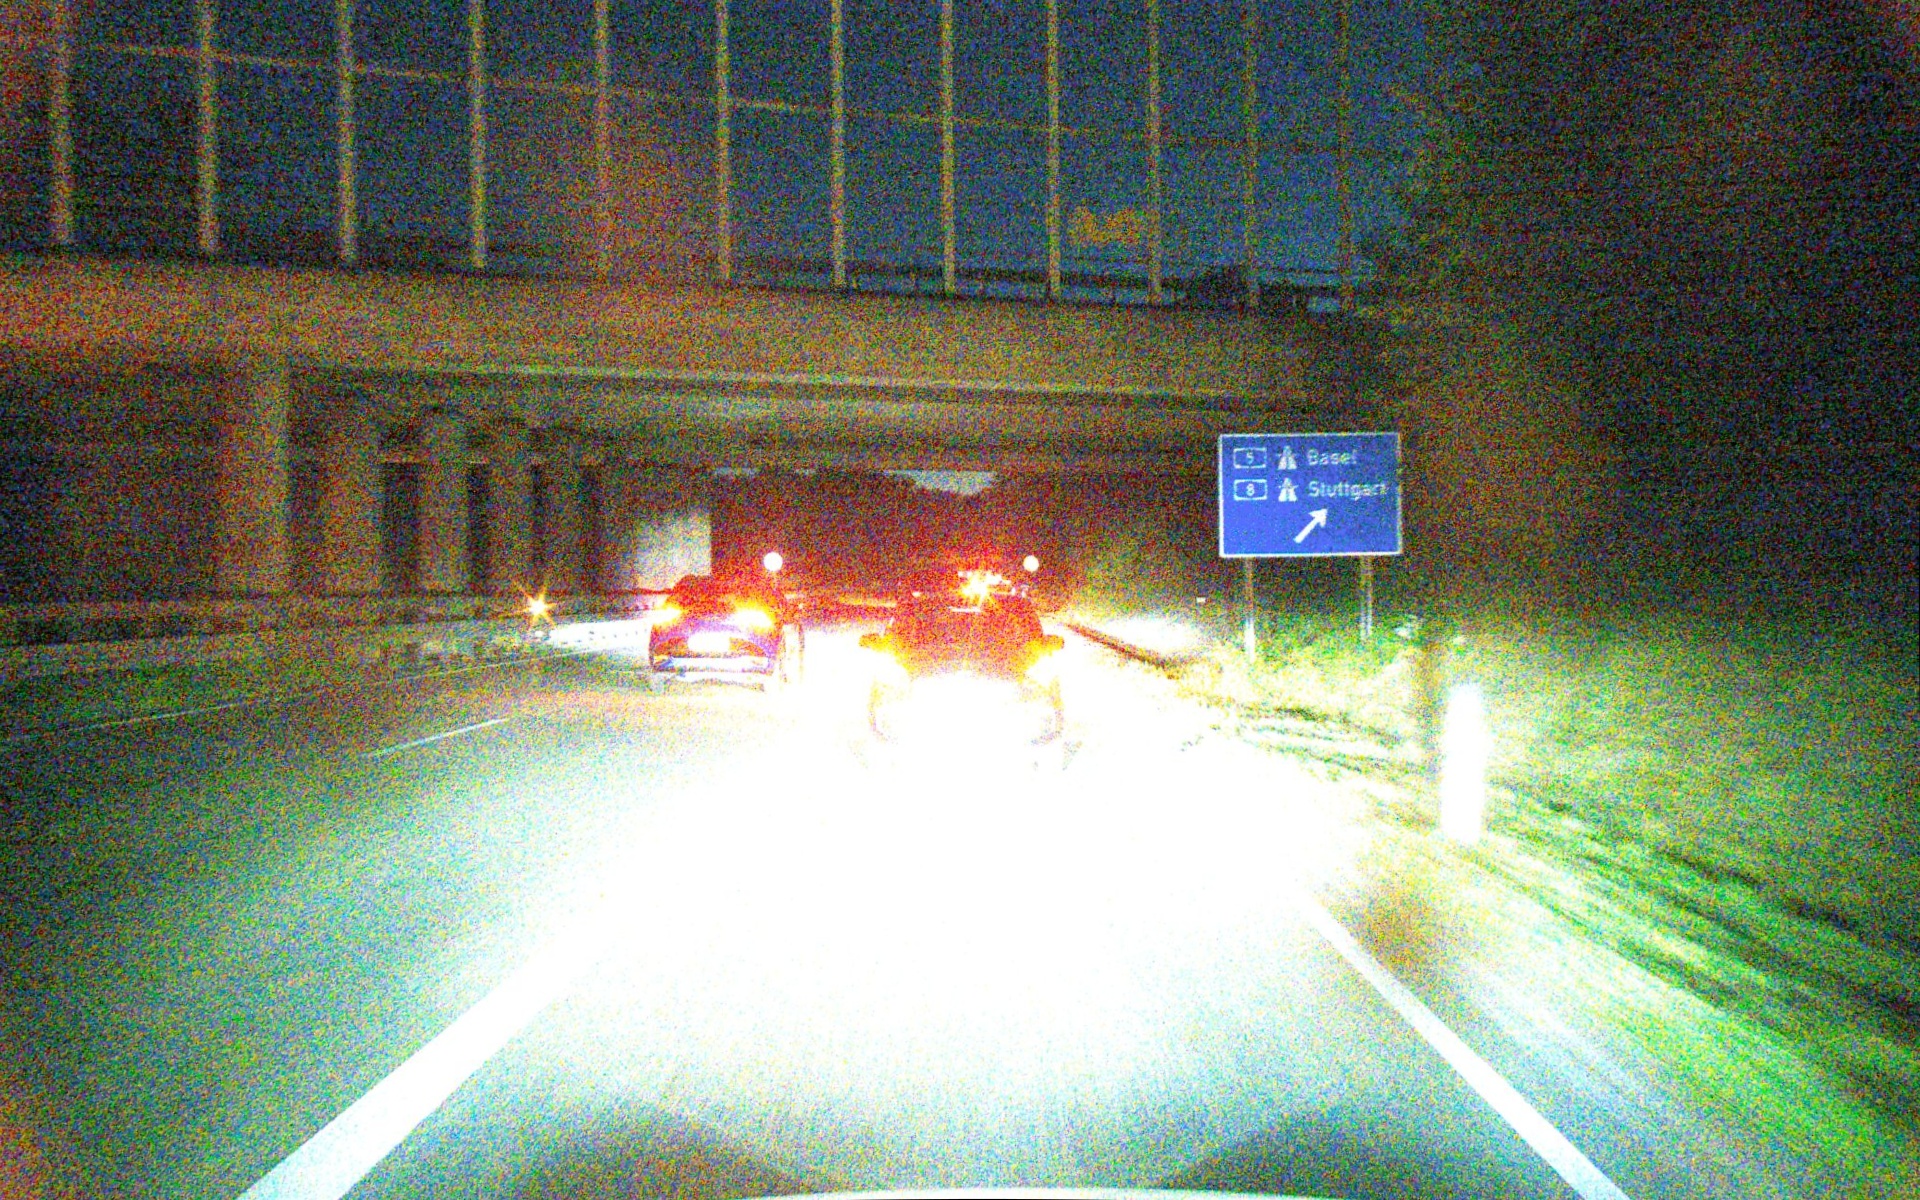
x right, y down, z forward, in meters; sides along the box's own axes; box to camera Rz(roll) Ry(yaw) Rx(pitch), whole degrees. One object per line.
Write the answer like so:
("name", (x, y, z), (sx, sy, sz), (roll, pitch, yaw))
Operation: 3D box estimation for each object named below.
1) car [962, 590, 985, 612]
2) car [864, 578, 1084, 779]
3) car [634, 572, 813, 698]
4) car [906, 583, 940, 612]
("car", (1.063, 0.062, 132.167), (1.698, 1.646, 3.798), (1, 0, -1))
("car", (-0.007, 0.599, 14.699), (1.658, 1.503, 3.997), (1, 0, -4))
("car", (-3.355, 0.434, 24.312), (1.900, 1.636, 4.644), (1, 1, 0))
("car", (-2.243, -0.133, 101.538), (1.912, 1.565, 4.240), (-4, -1, 0))
